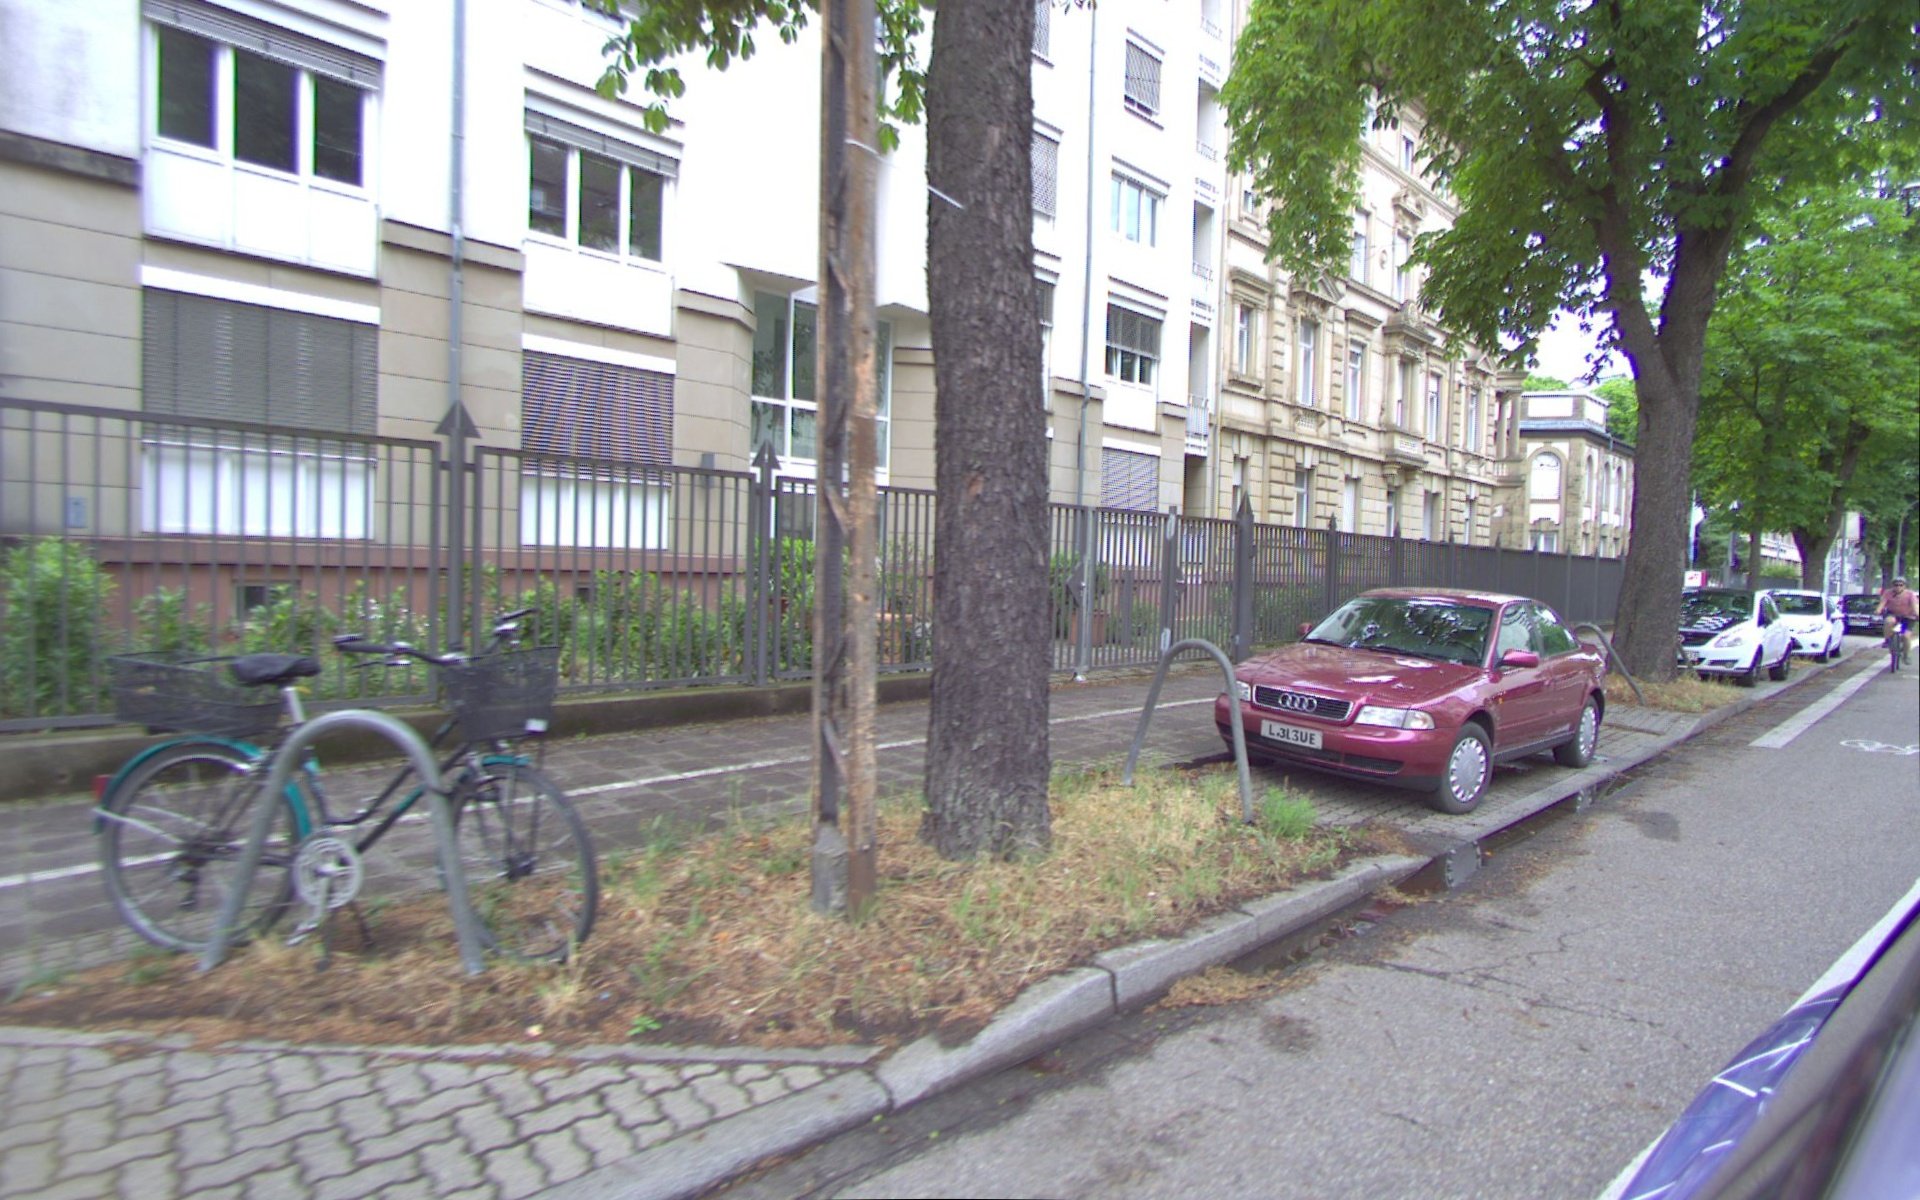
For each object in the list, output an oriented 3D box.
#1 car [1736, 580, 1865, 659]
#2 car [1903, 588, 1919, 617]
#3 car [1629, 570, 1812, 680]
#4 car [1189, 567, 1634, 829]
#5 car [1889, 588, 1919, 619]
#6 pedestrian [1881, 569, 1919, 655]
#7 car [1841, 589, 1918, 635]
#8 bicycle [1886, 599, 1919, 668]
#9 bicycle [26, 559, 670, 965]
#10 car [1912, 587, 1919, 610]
[{"bbox_3d":[18.155,0.366,21.799,3.701,1.452,1.630,0,5,-44],"label":"car"},{"bbox_3d":[52.377,0.158,54.822,3.773,1.441,1.605,0,5,-44],"label":"car"},{"bbox_3d":[12.175,0.331,16.119,3.712,1.452,1.605,0,5,-43],"label":"car"},{"bbox_3d":[3.666,0.534,7.812,4.157,1.415,1.605,0,5,-44],"label":"car"},{"bbox_3d":[47.103,0.187,49.892,3.773,1.386,1.605,0,5,-44],"label":"car"},{"bbox_3d":[17.787,0.209,18.958,0.692,1.569,0.683,0,2,-43],"label":"pedestrian"},{"bbox_3d":[31.319,0.370,34.443,3.773,1.386,1.605,0,5,-44],"label":"car"},{"bbox_3d":[17.771,0.597,18.993,1.678,1.219,0.413,0,3,-43],"label":"bicycle"},{"bbox_3d":[-1.937,0.480,3.302,1.869,1.213,0.433,0,2,3],"label":"bicycle"},{"bbox_3d":[61.006,-0.051,63.492,3.773,1.386,1.605,0,5,-44],"label":"car"}]
